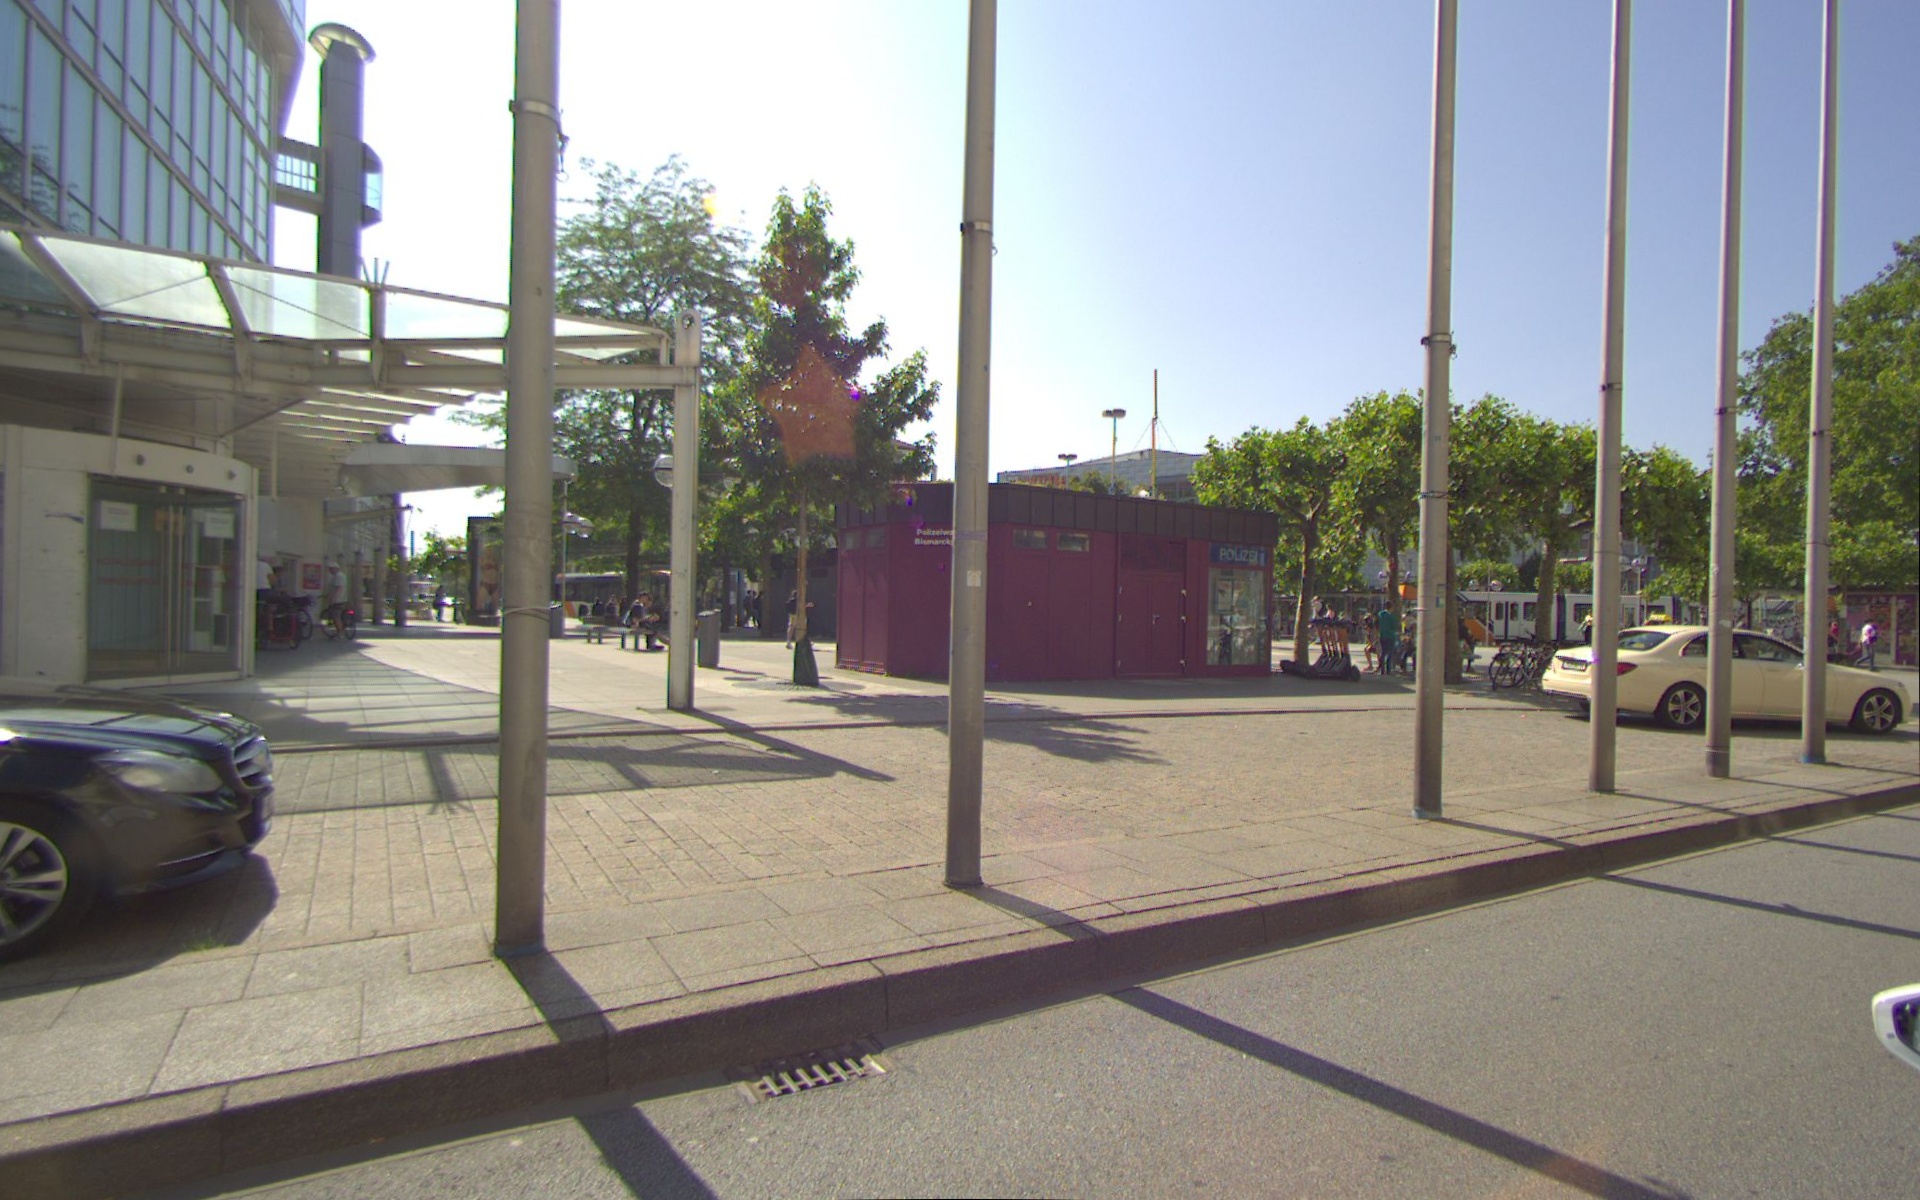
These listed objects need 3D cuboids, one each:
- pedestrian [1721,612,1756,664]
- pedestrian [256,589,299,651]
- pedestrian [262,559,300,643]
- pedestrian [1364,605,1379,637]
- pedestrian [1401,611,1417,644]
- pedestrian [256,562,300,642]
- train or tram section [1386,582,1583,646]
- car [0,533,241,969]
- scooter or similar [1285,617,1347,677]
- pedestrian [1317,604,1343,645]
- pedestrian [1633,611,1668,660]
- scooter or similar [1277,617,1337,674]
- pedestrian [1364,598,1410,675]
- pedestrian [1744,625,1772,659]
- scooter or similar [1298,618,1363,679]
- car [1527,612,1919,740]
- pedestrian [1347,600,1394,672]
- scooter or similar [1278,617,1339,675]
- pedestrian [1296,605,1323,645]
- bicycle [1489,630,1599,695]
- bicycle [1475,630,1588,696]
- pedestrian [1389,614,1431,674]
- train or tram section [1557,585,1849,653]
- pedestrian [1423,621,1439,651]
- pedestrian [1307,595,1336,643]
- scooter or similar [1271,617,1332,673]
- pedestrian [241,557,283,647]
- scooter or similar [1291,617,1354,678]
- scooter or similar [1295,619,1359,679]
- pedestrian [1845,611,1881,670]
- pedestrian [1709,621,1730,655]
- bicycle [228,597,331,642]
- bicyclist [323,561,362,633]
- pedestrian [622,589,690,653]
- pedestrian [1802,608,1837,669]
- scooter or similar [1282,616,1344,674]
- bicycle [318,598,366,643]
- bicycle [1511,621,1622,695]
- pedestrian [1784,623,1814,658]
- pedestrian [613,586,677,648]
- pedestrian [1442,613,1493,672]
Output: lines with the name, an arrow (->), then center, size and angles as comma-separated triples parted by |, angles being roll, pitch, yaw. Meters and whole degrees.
pedestrian -> 23.721, 1.160, 30.594 | 0.598, 1.553, 0.574 | 2, 1, -24
pedestrian -> -13.098, 0.380, 19.291 | 0.645, 1.162, 0.771 | 1, 0, -32
pedestrian -> -14.935, 0.022, 22.103 | 0.645, 1.789, 0.771 | 1, 0, -32
pedestrian -> 23.549, 1.196, 57.490 | 0.594, 1.772, 0.747 | 1, 0, 9
pedestrian -> 25.028, 1.522, 55.993 | 0.594, 1.772, 0.747 | 1, 0, 9
pedestrian -> -15.660, 0.043, 23.075 | 0.772, 1.789, 0.561 | 1, 1, -40
train or tram section -> 32.936, 0.861, 63.428 | 10.779, 3.726, 2.623 | 1, 0, 5
car -> -5.516, 0.531, 3.562 | 4.656, 1.621, 1.752 | 1, 0, -31
scooter or similar -> 7.543, 1.000, 21.274 | 1.280, 1.230, 0.233 | 1, 0, -11
pedestrian -> 16.103, 1.067, 43.718 | 0.600, 1.773, 0.796 | 2, 1, -35
pedestrian -> 25.703, 1.320, 37.396 | 0.788, 1.773, 0.606 | 2, 1, 2
scooter or similar -> 7.609, 0.997, 22.043 | 1.280, 1.230, 0.233 | 1, 0, -11
pedestrian -> 9.676, 0.825, 22.762 | 0.681, 1.700, 0.666 | 1, 1, -38
pedestrian -> 30.377, 1.597, 38.248 | 0.599, 1.279, 0.613 | 1, 0, 6
scooter or similar -> 7.571, 0.993, 20.540 | 1.280, 1.230, 0.233 | 1, 0, -11
car -> 11.390, 1.087, 14.993 | 4.767, 1.562, 1.896 | 2, 0, -3
pedestrian -> 9.635, 0.834, 23.581 | 0.668, 1.627, 0.796 | 1, 1, -43
scooter or similar -> 7.564, 0.989, 21.789 | 1.280, 1.230, 0.233 | 1, 0, -11
pedestrian -> 14.394, 1.035, 41.411 | 0.600, 1.582, 0.796 | 2, 1, -35
bicycle -> 11.188, 1.171, 19.300 | 0.556, 1.147, 1.772 | 1, 0, -32
bicycle -> 10.677, 1.157, 18.820 | 0.556, 1.120, 1.772 | 1, 0, -32
pedestrian -> 10.296, 1.004, 22.987 | 0.663, 1.326, 0.683 | 2, 1, 43
train or tram section -> 45.673, 1.131, 62.143 | 15.232, 3.726, 2.623 | 1, 0, 6
pedestrian -> 27.663, 2.113, 59.012 | 0.594, 1.772, 0.804 | 1, 0, 9
pedestrian -> 13.943, 0.729, 38.730 | 0.600, 1.822, 0.795 | 2, 1, -36
scooter or similar -> 7.582, 0.998, 22.299 | 1.280, 1.230, 0.264 | 1, 0, -11
pedestrian -> -14.232, 0.043, 20.501 | 0.645, 1.789, 0.771 | 1, 0, -32
scooter or similar -> 7.587, 0.993, 21.035 | 1.280, 1.230, 0.233 | 1, 0, -11
scooter or similar -> 7.596, 1.016, 20.797 | 1.280, 1.230, 0.233 | 1, 0, -11
pedestrian -> 27.791, 1.243, 30.909 | 0.598, 1.762, 0.574 | 2, 1, -24
pedestrian -> 29.526, 1.460, 39.053 | 0.602, 1.279, 0.610 | 1, 0, 38
bicycle -> -15.634, 0.444, 23.107 | 1.923, 0.979, 0.568 | 1, 0, -41
bicyclist -> -14.392, -0.075, 23.426 | 0.642, 1.631, 0.842 | 1, 0, -25
pedestrian -> -6.868, 0.468, 22.665 | 1.295, 1.404, 0.850 | 1, 0, -30
pedestrian -> 27.621, 1.221, 32.288 | 0.651, 1.904, 0.631 | 2, 1, 27
scooter or similar -> 7.567, 0.964, 21.528 | 1.280, 1.230, 0.233 | 1, 0, -11
bicycle -> -14.435, 0.457, 23.513 | 0.643, 0.979, 2.419 | 1, 0, -25
bicycle -> 11.730, 1.090, 19.488 | 0.556, 1.326, 1.772 | 1, 0, -32
pedestrian -> 31.724, 1.534, 37.978 | 0.599, 1.279, 0.612 | 1, 0, -4
pedestrian -> -7.339, 0.391, 23.370 | 1.245, 1.404, 0.850 | 1, 0, -30
pedestrian -> 12.280, 1.019, 24.315 | 0.884, 1.400, 0.670 | 1, 0, -21
